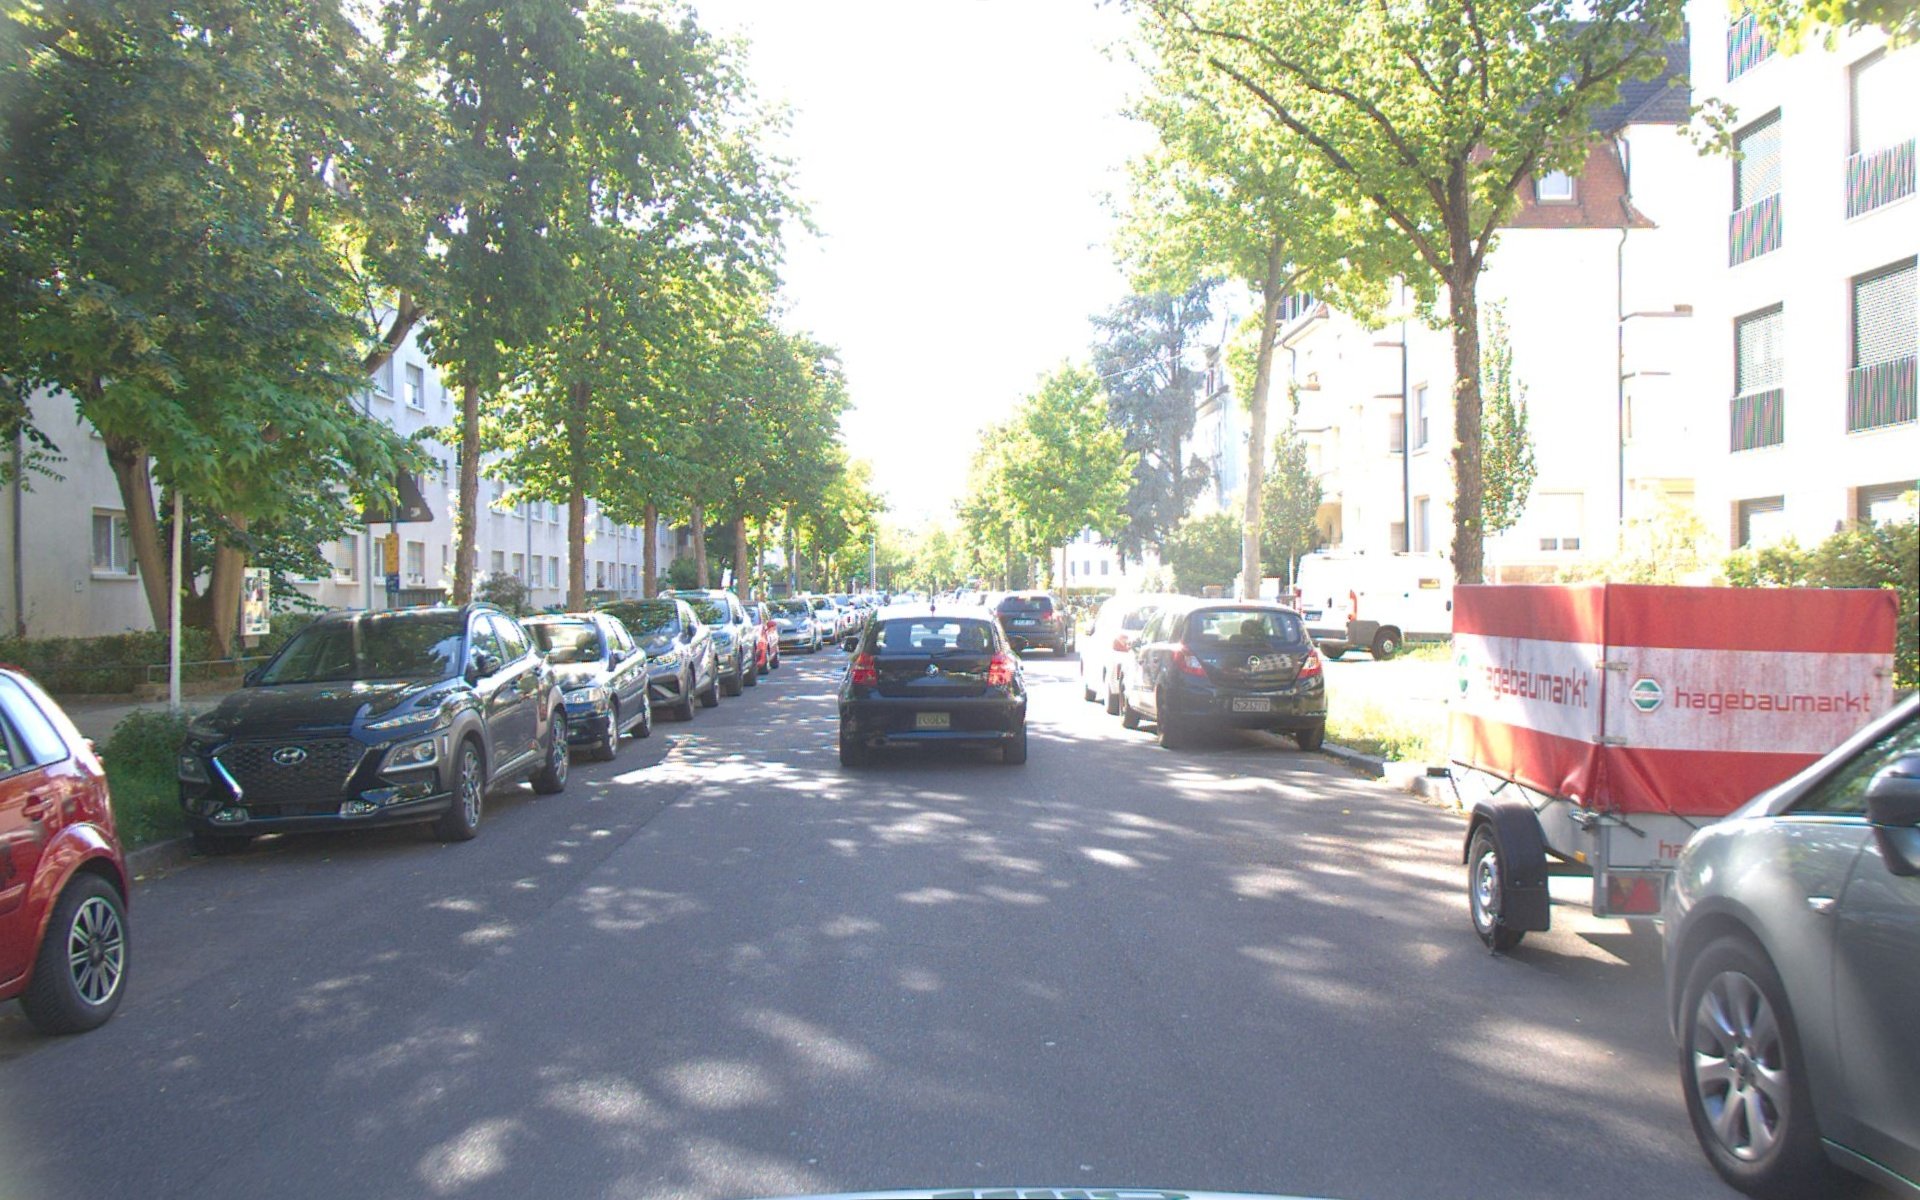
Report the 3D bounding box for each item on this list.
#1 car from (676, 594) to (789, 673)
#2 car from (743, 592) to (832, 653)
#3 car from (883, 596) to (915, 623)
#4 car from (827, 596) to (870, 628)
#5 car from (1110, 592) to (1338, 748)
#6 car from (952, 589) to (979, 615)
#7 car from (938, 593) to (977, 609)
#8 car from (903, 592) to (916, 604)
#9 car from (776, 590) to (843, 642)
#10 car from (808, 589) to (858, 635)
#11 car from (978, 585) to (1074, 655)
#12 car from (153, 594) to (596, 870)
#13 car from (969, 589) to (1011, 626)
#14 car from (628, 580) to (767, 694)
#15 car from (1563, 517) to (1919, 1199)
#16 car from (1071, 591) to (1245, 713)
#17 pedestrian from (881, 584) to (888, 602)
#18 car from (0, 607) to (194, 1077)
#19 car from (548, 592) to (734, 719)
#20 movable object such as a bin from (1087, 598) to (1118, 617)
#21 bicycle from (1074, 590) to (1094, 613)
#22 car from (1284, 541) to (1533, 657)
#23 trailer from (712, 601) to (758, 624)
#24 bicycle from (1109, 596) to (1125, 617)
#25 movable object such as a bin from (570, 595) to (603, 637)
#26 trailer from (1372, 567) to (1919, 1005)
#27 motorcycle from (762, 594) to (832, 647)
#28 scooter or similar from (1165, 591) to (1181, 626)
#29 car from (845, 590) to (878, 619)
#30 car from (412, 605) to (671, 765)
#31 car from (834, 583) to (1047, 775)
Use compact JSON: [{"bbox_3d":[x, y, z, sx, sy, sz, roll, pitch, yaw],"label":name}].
[{"bbox_3d":[-4.646,0.638,34.347,1.818,1.495,4.181,-1,0,-1],"label":"car"},{"bbox_3d":[-4.702,0.582,45.807,2.001,1.551,4.605,-1,0,-1],"label":"car"},{"bbox_3d":[-3.500,0.527,94.613,1.773,1.471,4.364,-2,0,-2],"label":"car"},{"bbox_3d":[-5.231,0.537,77.854,1.743,1.403,4.261,-3,0,-1],"label":"car"},{"bbox_3d":[2.753,0.674,18.129,1.636,1.476,4.177,1,0,-3],"label":"car"},{"bbox_3d":[0.394,0.165,128.485,1.931,1.983,4.983,-1,0,-2],"label":"car"},{"bbox_3d":[-0.277,0.086,170.125,3.910,1.615,1.725,-1,0,-6],"label":"car"},{"bbox_3d":[-7.583,-0.297,247.334,1.748,1.637,3.995,-1,0,-6],"label":"car"},{"bbox_3d":[-4.844,0.484,53.644,2.023,1.551,4.718,-1,0,-4],"label":"car"},{"bbox_3d":[-4.982,0.452,65.392,1.694,1.646,4.364,-4,0,-2],"label":"car"},{"bbox_3d":[1.484,0.462,39.117,1.858,1.551,4.964,0,-1,-3],"label":"car"},{"bbox_3d":[-4.023,0.787,12.223,1.671,1.604,4.481,-2,0,0],"label":"car"},{"bbox_3d":[1.394,0.322,78.681,1.886,1.680,5.095,1,0,0],"label":"car"},{"bbox_3d":[-4.351,0.566,28.095,1.732,1.717,4.812,-2,0,-2],"label":"car"},{"bbox_3d":[2.946,0.680,3.061,1.756,1.672,4.817,1,0,-2],"label":"car"},{"bbox_3d":[2.614,0.642,22.696,1.698,1.513,4.007,0,0,-3],"label":"car"},{"bbox_3d":[-8.283,-0.769,181.665,0.700,1.933,0.837,-1,0,3],"label":"pedestrian"},{"bbox_3d":[-3.961,0.828,4.883,1.621,1.531,4.067,-2,0,-3],"label":"car"},{"bbox_3d":[-4.286,0.687,22.859,1.733,1.558,4.419,-1,0,-1],"label":"car"},{"bbox_3d":[7.207,0.353,83.686,1.196,0.920,1.665,-1,0,19],"label":"movable object such as a bin"},{"bbox_3d":[7.184,0.091,96.056,0.822,1.279,2.229,0,0,-5],"label":"bicycle"},{"bbox_3d":[9.740,-0.056,35.914,4.976,2.346,2.217,-1,0,-25],"label":"car"},{"bbox_3d":[-10.852,0.604,79.891,1.752,1.052,3.281,-1,0,1],"label":"trailer"},{"bbox_3d":[7.587,0.298,80.187,0.569,0.992,1.903,-1,0,0],"label":"bicycle"},{"bbox_3d":[-12.441,0.523,55.132,0.912,1.347,1.377,-1,0,-7],"label":"movable object such as a bin"},{"bbox_3d":[3.105,0.690,7.775,1.542,1.606,3.192,1,0,1],"label":"trailer"},{"bbox_3d":[-4.898,0.608,49.665,0.981,1.530,2.200,-2,0,-41],"label":"motorcycle"},{"bbox_3d":[7.686,0.304,59.674,0.393,1.205,1.207,-1,1,14],"label":"scooter or similar"},{"bbox_3d":[-5.820,0.252,98.296,1.775,1.624,4.231,-2,0,-2],"label":"car"},{"bbox_3d":[-4.229,0.786,17.431,1.749,1.376,4.479,-2,0,-3],"label":"car"},{"bbox_3d":[-0.284,0.652,15.862,1.747,1.550,3.997,-2,0,-4],"label":"car"}]
